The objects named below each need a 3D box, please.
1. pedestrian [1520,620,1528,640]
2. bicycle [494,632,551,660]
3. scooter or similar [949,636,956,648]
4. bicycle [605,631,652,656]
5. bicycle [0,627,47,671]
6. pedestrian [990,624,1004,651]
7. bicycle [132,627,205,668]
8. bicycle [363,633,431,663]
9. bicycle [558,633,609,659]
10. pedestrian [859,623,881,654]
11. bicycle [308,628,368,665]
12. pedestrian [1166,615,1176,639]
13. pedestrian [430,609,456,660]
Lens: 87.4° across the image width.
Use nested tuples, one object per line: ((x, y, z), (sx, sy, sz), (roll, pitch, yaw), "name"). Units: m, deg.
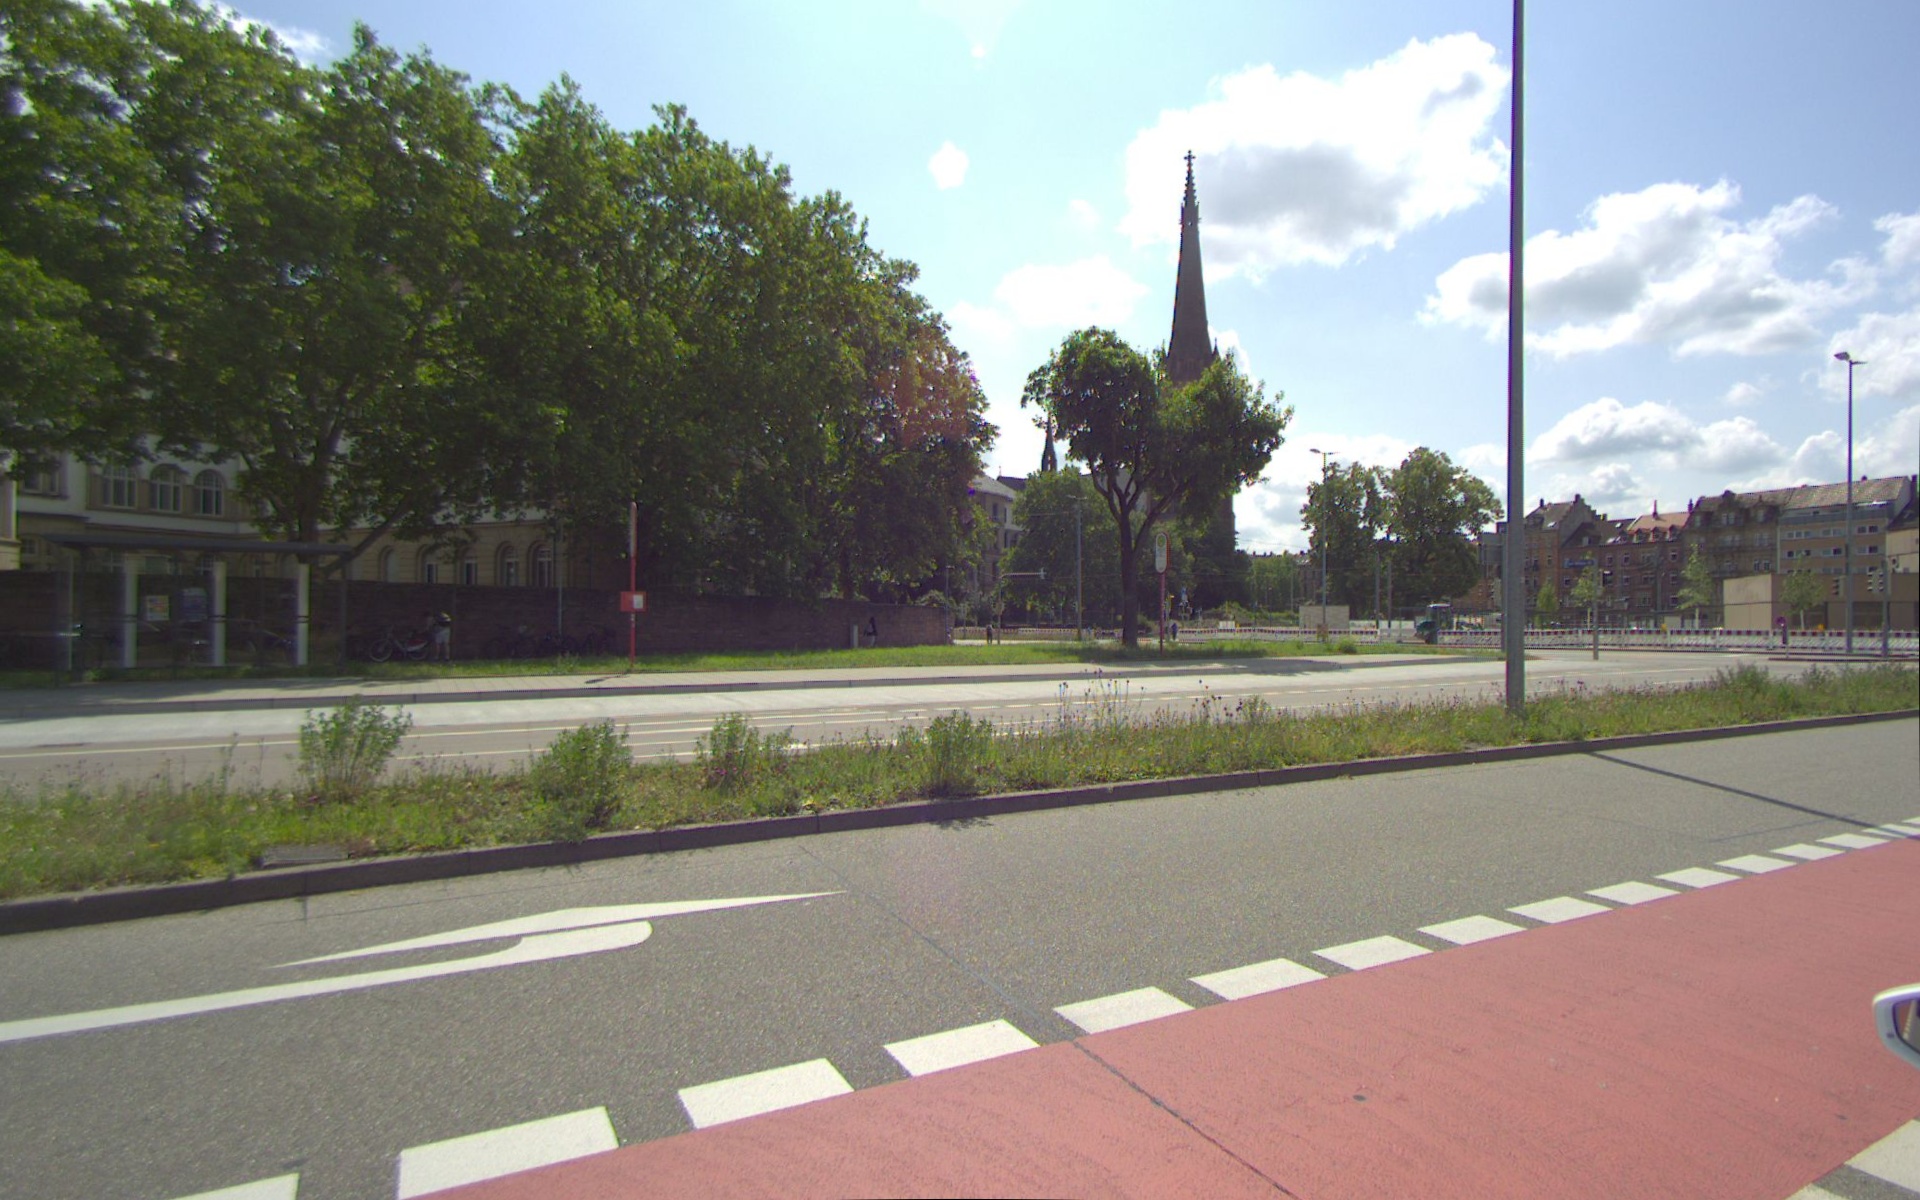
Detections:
((47.914, 2.521, 85.272), (0.409, 1.674, 0.425), (2, 0, 4), "pedestrian")
((-14.013, 1.461, 32.201), (0.378, 0.828, 1.743), (0, -1, 36), "bicycle")
((-0.431, 2.469, 58.986), (0.117, 0.721, 1.005), (0, -1, 17), "scooter or similar")
((-11.768, 1.529, 35.684), (0.324, 0.828, 1.743), (0, -1, 36), "bicycle")
((-21.250, 1.091, 22.327), (0.260, 0.977, 1.391), (0, -1, 36), "bicycle")
((2.748, 2.782, 74.688), (0.713, 2.040, 0.721), (1, -1, -32), "pedestrian")
((-19.410, 1.158, 24.647), (0.260, 0.977, 1.391), (0, -1, 36), "bicycle")
((-16.233, 1.379, 29.015), (0.324, 0.828, 1.743), (0, -1, 36), "bicycle")
((-12.773, 1.549, 34.157), (0.324, 0.828, 1.743), (0, -1, 36), "bicycle")
((-4.161, 1.751, 46.440), (0.720, 1.413, 0.714), (1, -1, -35), "pedestrian")
((-17.152, 1.265, 27.718), (0.260, 0.977, 1.391), (0, -1, 36), "bicycle")
((18.193, 2.312, 86.582), (0.642, 2.040, 0.626), (1, -1, -35), "pedestrian")
((-15.130, 1.006, 29.398), (0.627, 1.492, 0.506), (1, -1, -32), "pedestrian")
